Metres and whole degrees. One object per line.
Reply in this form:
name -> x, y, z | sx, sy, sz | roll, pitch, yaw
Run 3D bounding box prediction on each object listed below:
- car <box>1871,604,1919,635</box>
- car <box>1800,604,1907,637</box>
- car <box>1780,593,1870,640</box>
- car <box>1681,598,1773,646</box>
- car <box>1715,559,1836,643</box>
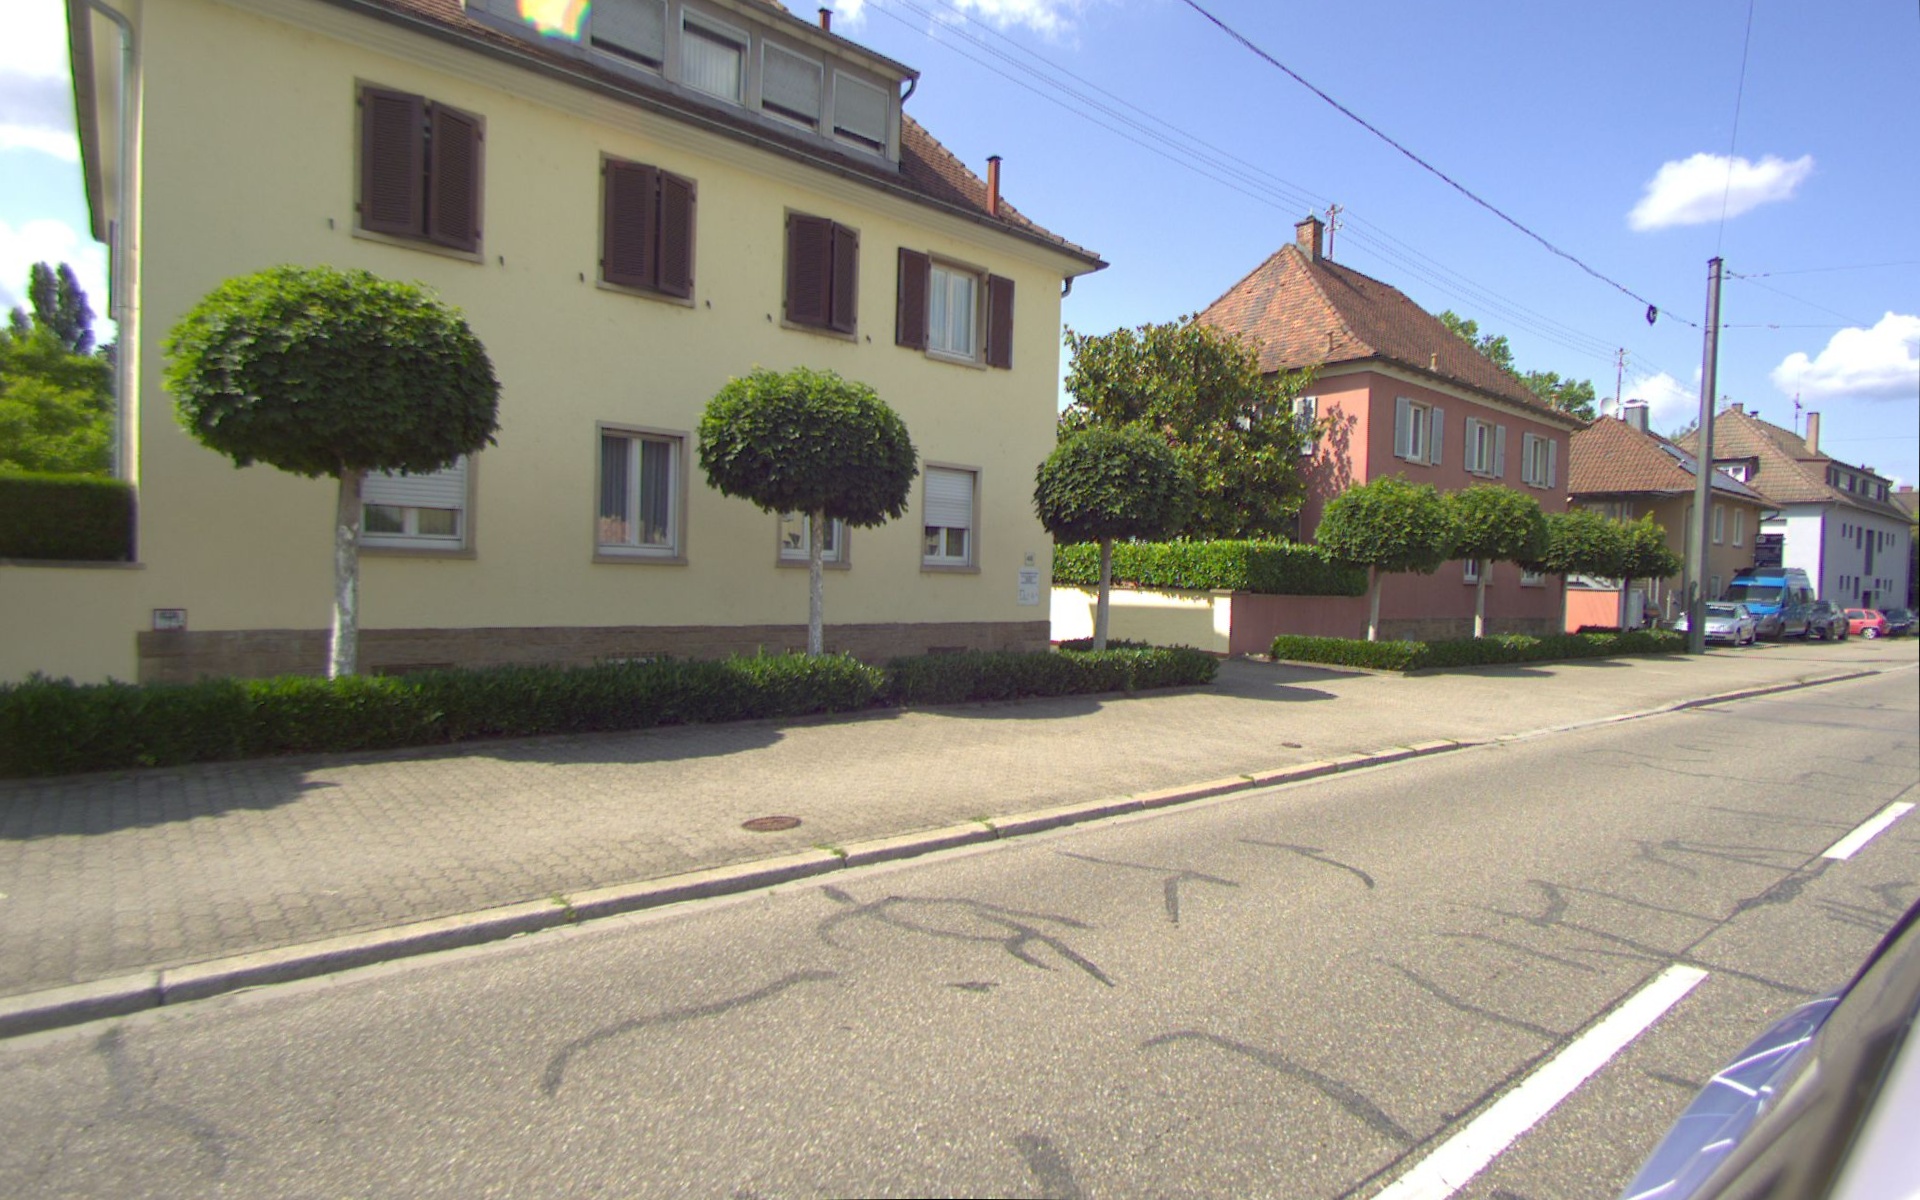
car -> 48.516, 0.990, 51.847 | 4.767, 1.441, 1.804 | 1, 3, -37
car -> 43.409, 0.970, 49.207 | 1.696, 1.397, 3.658 | 0, 2, -39
car -> 36.091, 0.666, 42.189 | 4.775, 1.732, 1.842 | 1, 3, -38
car -> 25.951, 0.690, 34.202 | 4.275, 1.426, 1.652 | 0, 3, -42
car -> 31.146, 0.019, 38.577 | 6.129, 2.967, 2.157 | 0, 1, -37
